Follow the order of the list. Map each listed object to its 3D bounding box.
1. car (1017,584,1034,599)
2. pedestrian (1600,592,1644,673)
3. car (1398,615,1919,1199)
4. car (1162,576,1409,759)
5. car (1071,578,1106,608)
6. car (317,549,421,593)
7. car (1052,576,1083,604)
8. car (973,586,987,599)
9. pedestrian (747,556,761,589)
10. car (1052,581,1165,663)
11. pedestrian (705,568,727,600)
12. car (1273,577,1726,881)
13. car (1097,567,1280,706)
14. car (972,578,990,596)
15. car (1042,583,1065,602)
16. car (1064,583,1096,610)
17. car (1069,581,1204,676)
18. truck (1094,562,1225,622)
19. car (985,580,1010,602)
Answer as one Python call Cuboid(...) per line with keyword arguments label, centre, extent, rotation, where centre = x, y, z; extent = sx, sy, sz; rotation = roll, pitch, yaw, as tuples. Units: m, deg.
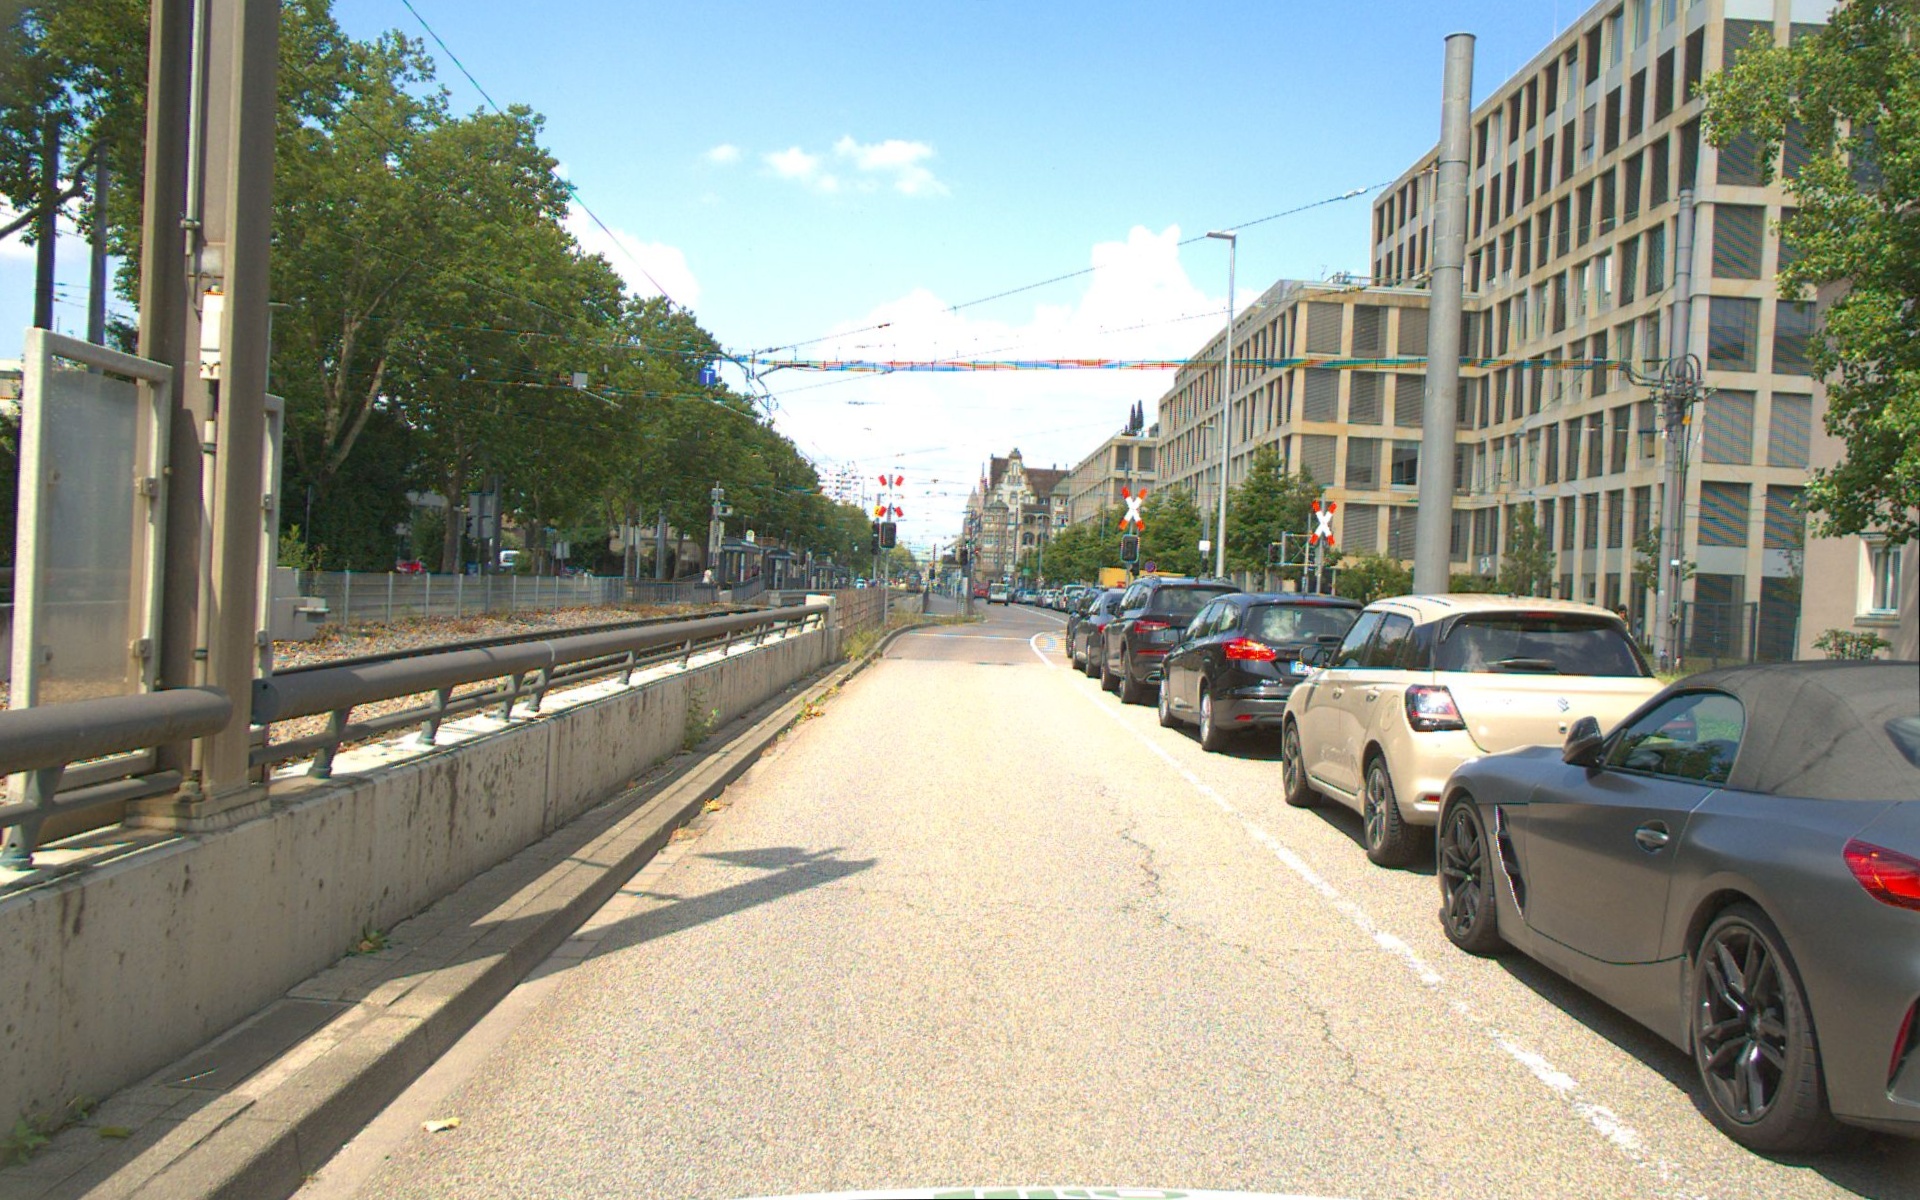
Cuboid(label="car", centre=(6.915, -0.896, 174.616), extent=(1.559, 1.485, 3.613), rotation=(4, 1, 0))
Cuboid(label="pedestrian", centre=(13.604, 0.665, 34.004), extent=(0.610, 1.636, 0.624), rotation=(1, 0, -4))
Cuboid(label="car", centre=(3.076, 0.785, 5.855), extent=(1.787, 1.334, 4.442), rotation=(1, 1, -1))
Cuboid(label="car", centre=(3.083, 0.561, 16.524), extent=(1.610, 1.556, 4.442), rotation=(1, 1, 1))
Cuboid(label="car", centre=(8.069, -0.476, 104.300), extent=(1.733, 1.798, 4.839), rotation=(2, 1, -1))
Cuboid(label="car", centre=(-26.142, -1.279, 73.234), extent=(3.908, 1.780, 1.802), rotation=(2, 1, -4))
Cuboid(label="car", centre=(7.855, -0.734, 120.950), extent=(1.843, 1.973, 4.842), rotation=(1, 1, -1))
Cuboid(label="car", centre=(2.329, -0.923, 193.821), extent=(1.414, 1.495, 4.090), rotation=(0, 1, -3))
Cuboid(label="pedestrian", centre=(-12.112, -1.619, 97.312), extent=(0.692, 1.877, 0.864), rotation=(1, 0, -2))
Cuboid(label="car", centre=(3.020, 0.409, 34.397), extent=(1.743, 1.567, 4.419), rotation=(1, 1, -3))
Cuboid(label="pedestrian", centre=(-10.471, -0.689, 70.938), extent=(0.845, 1.367, 0.922), rotation=(1, 0, -4))
Cuboid(label="car", centre=(3.147, 0.645, 10.451), extent=(1.635, 1.541, 3.851), rotation=(1, 1, 1))
Cuboid(label="car", centre=(3.021, 0.410, 22.787), extent=(1.779, 1.691, 4.670), rotation=(1, 1, -1))
Cuboid(label="car", centre=(2.449, -1.507, 193.810), extent=(1.953, 2.049, 3.999), rotation=(1, 0, -1))
Cuboid(label="car", centre=(8.016, -0.666, 141.823), extent=(1.651, 1.634, 4.151), rotation=(1, 1, -1))
Cuboid(label="car", centre=(7.938, -0.254, 109.792), extent=(1.686, 1.648, 3.859), rotation=(2, 0, -1))
Cuboid(label="car", centre=(3.041, 0.437, 29.443), extent=(1.779, 1.479, 4.990), rotation=(1, 1, -1))
Cuboid(label="truck", centre=(10.792, -0.442, 89.752), extent=(6.671, 2.917, 2.453), rotation=(2, 0, -3))
Cuboid(label="car", centre=(3.217, -0.778, 143.072), extent=(1.831, 1.776, 3.999), rotation=(4, 0, -2))
